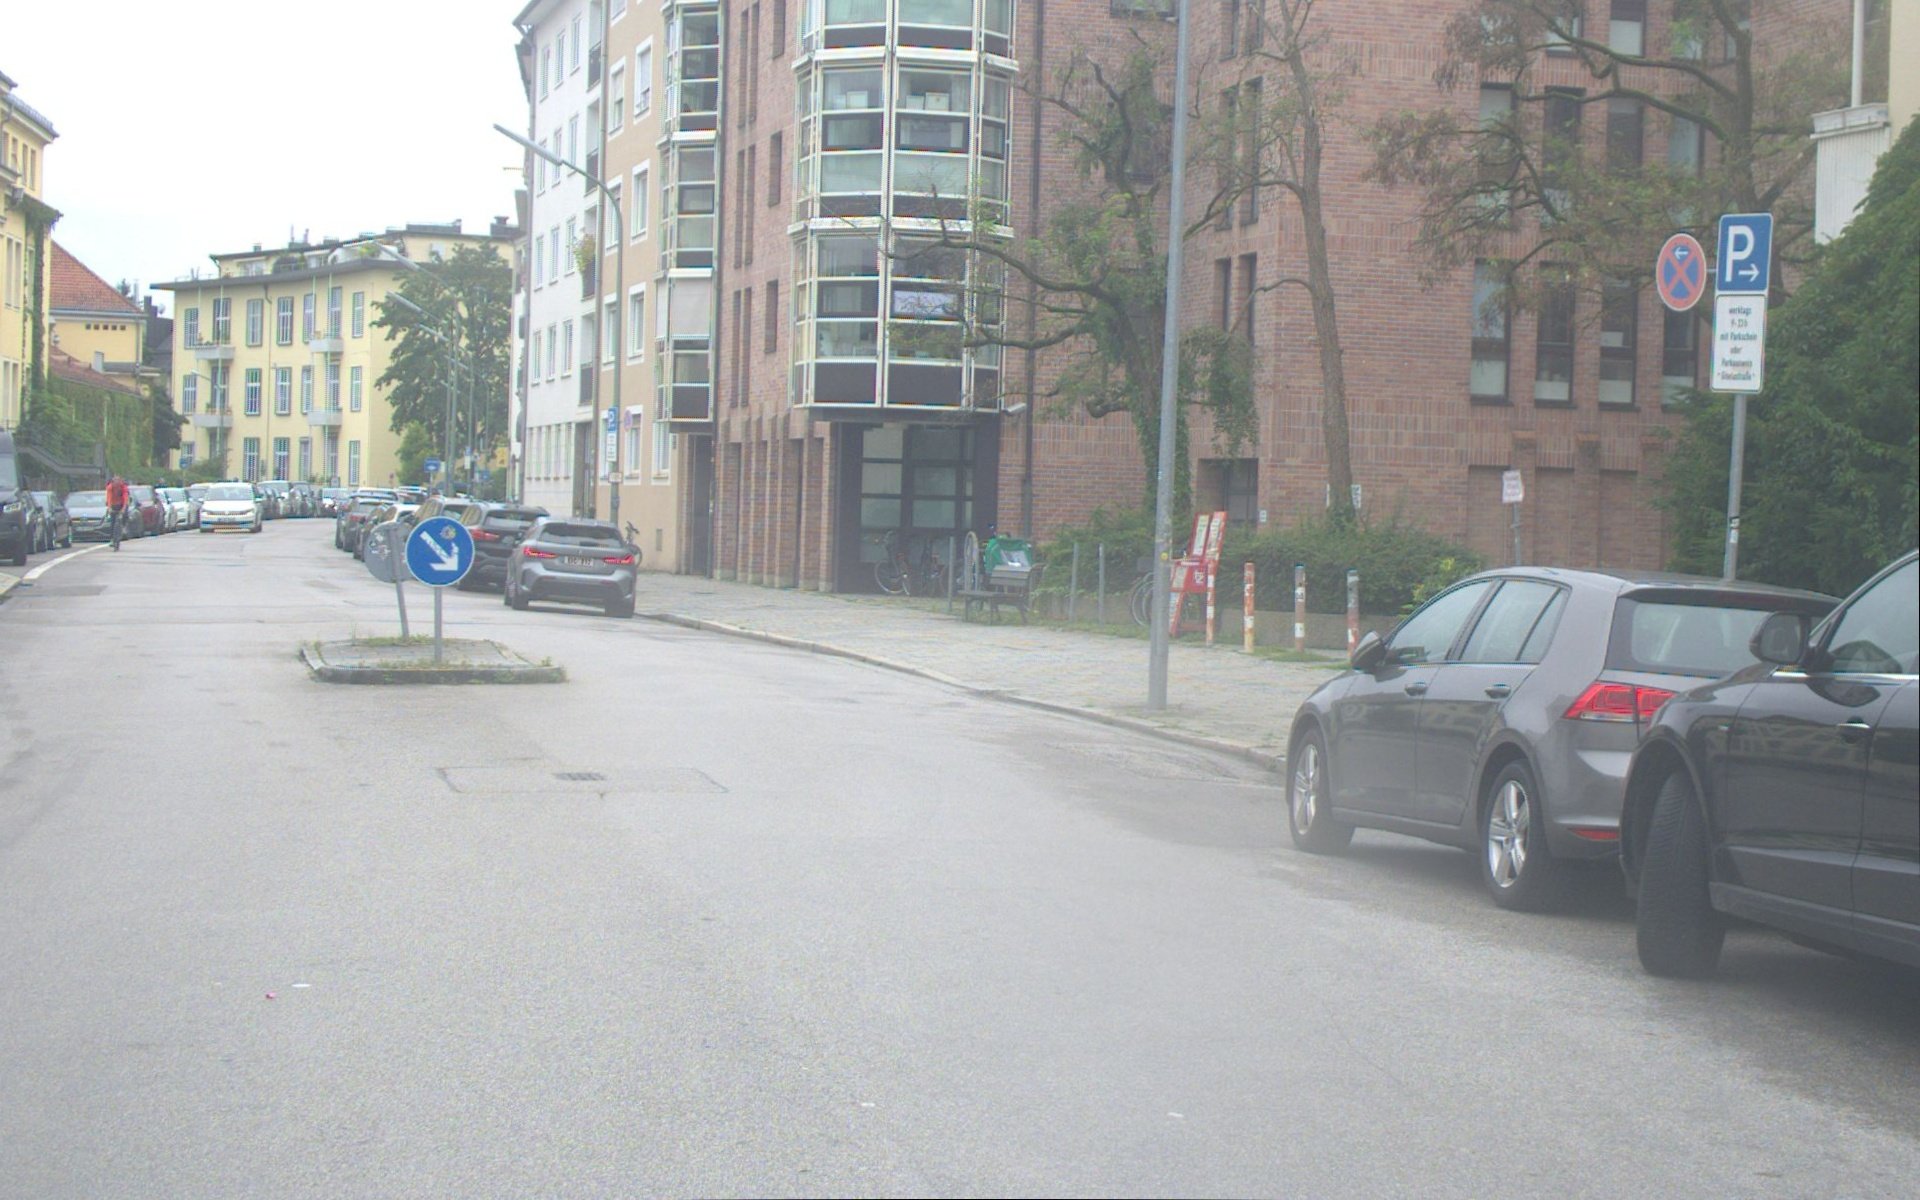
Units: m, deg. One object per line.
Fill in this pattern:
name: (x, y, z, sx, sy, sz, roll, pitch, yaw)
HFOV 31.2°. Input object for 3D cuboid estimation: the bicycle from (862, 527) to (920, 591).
bicycle: (-1.212, -0.720, 59.821, 0.486, 1.056, 1.996, 3, 1, -15)

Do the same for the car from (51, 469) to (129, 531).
car: (-24.223, -2.799, 95.796, 1.772, 1.544, 3.780, 3, 2, -10)

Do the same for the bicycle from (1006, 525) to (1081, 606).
bicycle: (1.247, -0.514, 51.155, 0.421, 1.169, 1.359, 5, 3, 32)

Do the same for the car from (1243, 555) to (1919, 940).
car: (2.750, 0.563, 15.390, 1.754, 1.391, 4.046, 3, 1, -13)

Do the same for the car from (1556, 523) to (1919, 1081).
car: (3.453, 0.608, 10.834, 1.658, 1.560, 4.516, 3, 1, -9)

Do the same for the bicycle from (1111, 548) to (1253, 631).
bicycle: (2.885, -0.136, 44.718, 1.700, 0.962, 0.546, 3, 2, -12)

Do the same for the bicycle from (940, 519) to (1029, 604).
bicycle: (0.364, -0.596, 52.616, 0.534, 1.244, 2.414, 3, 0, -19)

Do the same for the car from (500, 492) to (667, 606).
car: (-5.718, -0.795, 51.743, 1.924, 1.507, 4.393, 3, 1, -13)

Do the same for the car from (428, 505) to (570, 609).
car: (-8.361, -0.809, 62.095, 1.829, 1.596, 4.268, 3, 2, -16)

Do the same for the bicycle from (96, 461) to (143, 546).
bicycle: (-20.405, -2.353, 83.497, 0.748, 2.006, 2.848, 0, 3, -7)

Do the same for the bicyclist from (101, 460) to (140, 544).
bicyclist: (-20.410, -2.396, 83.581, 0.766, 2.006, 0.768, -2, 3, -7)

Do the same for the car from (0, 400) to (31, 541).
car: (-19.986, -2.575, 69.096, 2.421, 2.705, 5.955, 0, 1, -14)

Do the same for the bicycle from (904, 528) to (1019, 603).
bicycle: (0.026, -0.590, 58.468, 1.848, 1.143, 0.488, 3, 2, -7)

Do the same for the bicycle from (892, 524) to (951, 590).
bicycle: (-0.678, -0.761, 59.988, 0.486, 1.056, 1.996, 3, 2, -15)

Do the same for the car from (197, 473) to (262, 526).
car: (-23.760, -3.255, 111.890, 2.025, 1.616, 4.507, 0, 1, -12)
